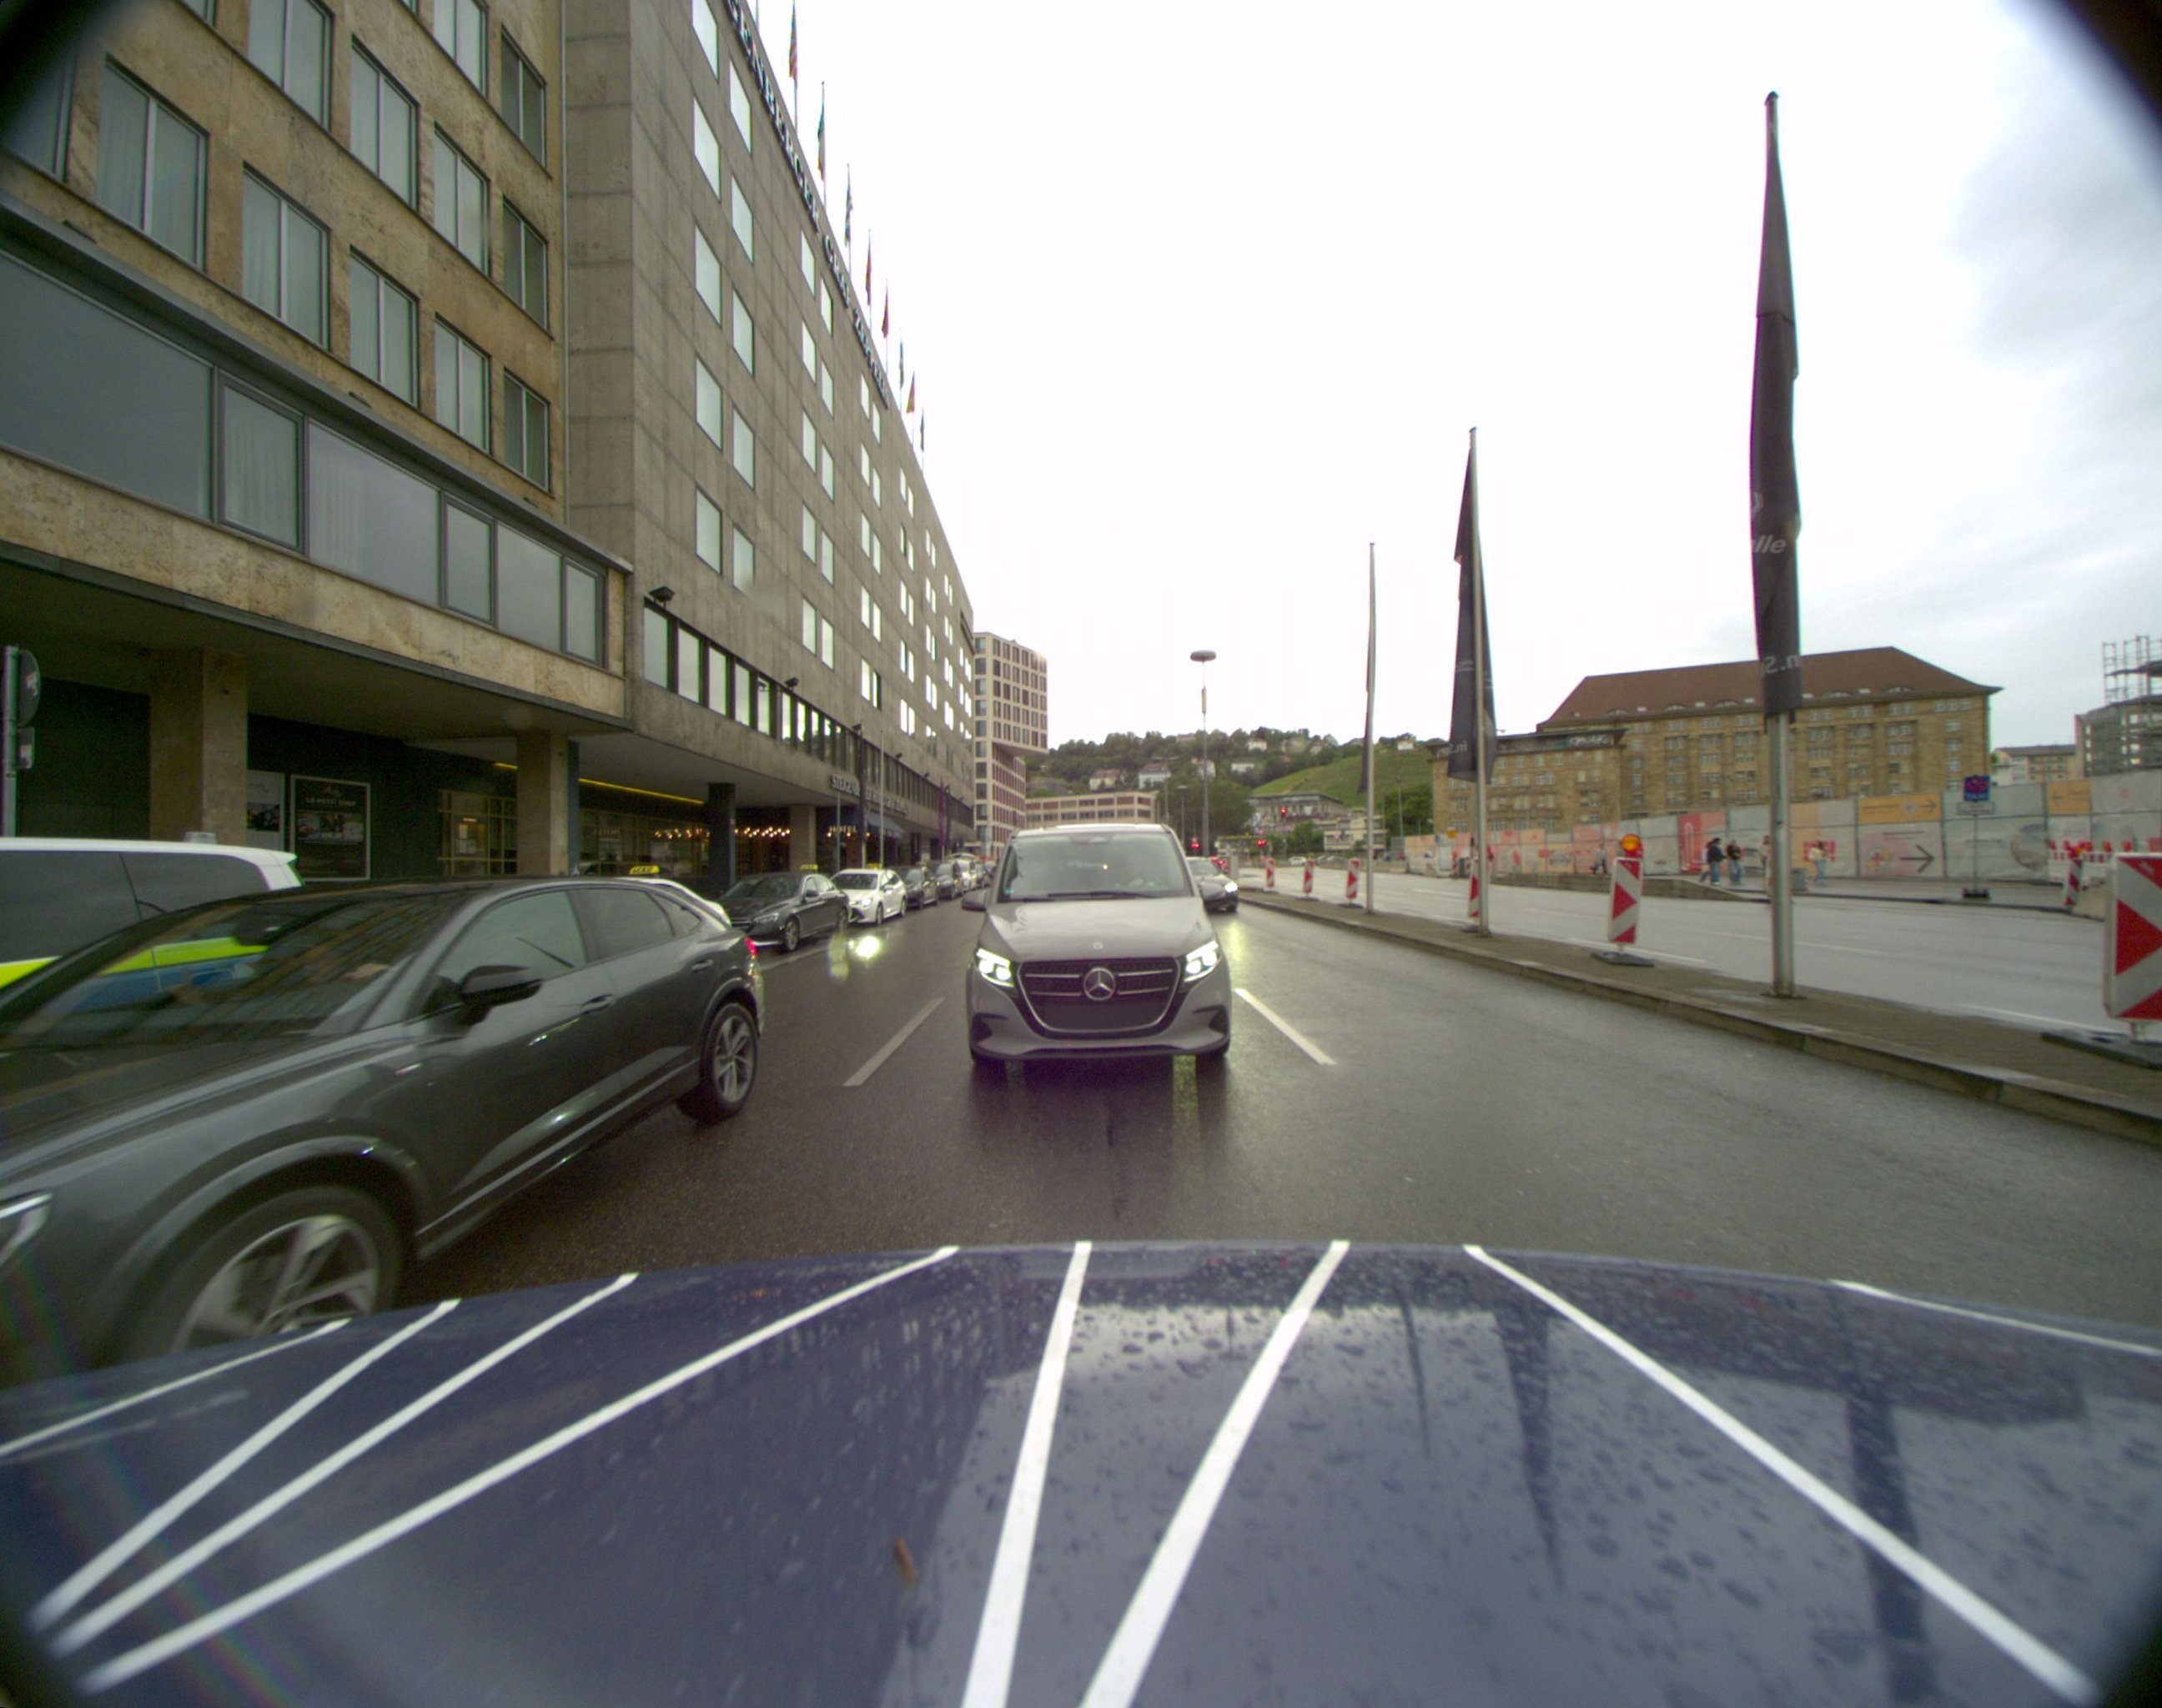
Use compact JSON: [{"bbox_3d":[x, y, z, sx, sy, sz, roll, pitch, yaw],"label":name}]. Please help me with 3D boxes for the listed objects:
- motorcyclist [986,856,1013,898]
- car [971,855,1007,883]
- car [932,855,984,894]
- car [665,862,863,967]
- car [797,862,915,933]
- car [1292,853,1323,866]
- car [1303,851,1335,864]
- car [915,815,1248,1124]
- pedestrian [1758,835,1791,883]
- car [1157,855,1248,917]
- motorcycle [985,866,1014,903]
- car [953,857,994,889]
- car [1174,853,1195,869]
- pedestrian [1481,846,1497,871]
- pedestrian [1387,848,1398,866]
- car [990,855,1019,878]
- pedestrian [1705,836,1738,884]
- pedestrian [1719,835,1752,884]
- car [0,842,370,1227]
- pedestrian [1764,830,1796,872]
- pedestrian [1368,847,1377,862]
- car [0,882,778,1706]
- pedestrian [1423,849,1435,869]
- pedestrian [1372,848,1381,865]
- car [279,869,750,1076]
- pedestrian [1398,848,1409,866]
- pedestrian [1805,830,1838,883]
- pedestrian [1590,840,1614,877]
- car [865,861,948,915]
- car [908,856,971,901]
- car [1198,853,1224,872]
[{"bbox_3d":[-3.106,0.866,29.091,0.861,1.519,0.844,-2,1,1],"label":"motorcyclist"},{"bbox_3d":[-5.879,0.910,48.905,1.731,1.604,4.001,-2,1,0],"label":"car"},{"bbox_3d":[-6.096,0.954,38.219,1.731,1.732,4.814,-2,1,0],"label":"car"},{"bbox_3d":[-6.080,1.048,15.308,1.879,1.628,4.814,-2,1,0],"label":"car"},{"bbox_3d":[-6.047,1.088,21.036,1.731,1.583,4.814,-2,1,0],"label":"car"},{"bbox_3d":[35.008,0.810,117.610,4.194,1.846,1.832,-2,1,6],"label":"car"},{"bbox_3d":[32.329,0.439,103.373,3.993,1.622,2.002,-1,0,14],"label":"car"},{"bbox_3d":[0.042,0.701,7.304,1.998,1.849,5.160,-2,1,1],"label":"car"},{"bbox_3d":[25.348,0.180,27.776,0.714,1.734,0.564,-2,1,21],"label":"pedestrian"},{"bbox_3d":[3.339,0.832,21.735,1.860,1.461,4.586,-2,1,1],"label":"car"},{"bbox_3d":[-3.090,1.131,28.996,0.848,1.299,1.965,-2,1,1],"label":"motorcycle"},{"bbox_3d":[-6.132,1.062,43.726,1.731,1.604,4.001,-2,1,0],"label":"car"},{"bbox_3d":[11.811,0.732,86.842,1.785,1.684,3.916,-2,1,-1],"label":"car"},{"bbox_3d":[26.632,0.304,49.556,0.715,1.606,0.544,-2,1,1],"label":"pedestrian"},{"bbox_3d":[28.548,0.277,69.669,0.715,1.606,0.544,-2,1,1],"label":"pedestrian"},{"bbox_3d":[-5.912,0.960,59.225,1.731,1.604,4.001,-2,1,0],"label":"car"},{"bbox_3d":[23.796,0.223,28.239,0.714,1.723,0.718,-2,1,19],"label":"pedestrian"},{"bbox_3d":[24.945,0.198,28.960,0.714,1.825,0.718,-2,1,19],"label":"pedestrian"},{"bbox_3d":[-6.327,0.933,3.222,1.879,1.909,4.935,-2,1,0],"label":"car"},{"bbox_3d":[27.703,-0.113,30.123,0.715,1.606,0.544,-2,1,1],"label":"pedestrian"},{"bbox_3d":[31.276,0.061,81.623,0.715,1.606,0.544,-2,1,1],"label":"pedestrian"},{"bbox_3d":[-3.119,0.995,3.119,1.883,1.493,4.342,-2,1,1],"label":"car"},{"bbox_3d":[28.636,0.439,62.562,0.715,1.606,0.544,-2,1,1],"label":"pedestrian"},{"bbox_3d":[29.600,0.248,76.137,0.715,1.606,0.544,-2,1,1],"label":"pedestrian"},{"bbox_3d":[-6.097,1.098,9.224,1.879,1.628,5.010,-2,1,0],"label":"car"},{"bbox_3d":[28.834,0.279,68.002,0.715,1.606,0.544,-2,1,1],"label":"pedestrian"},{"bbox_3d":[26.240,0.092,26.929,0.661,1.825,0.556,-2,1,21],"label":"pedestrian"},{"bbox_3d":[26.114,0.223,38.091,0.664,1.825,0.720,-2,1,1],"label":"pedestrian"},{"bbox_3d":[-6.050,1.119,26.851,1.731,1.583,4.814,-2,1,0],"label":"car"},{"bbox_3d":[-6.058,0.994,33.022,1.731,1.732,4.814,-2,1,0],"label":"car"},{"bbox_3d":[12.313,0.801,72.297,1.785,1.684,3.916,-1,0,0],"label":"car"}]
